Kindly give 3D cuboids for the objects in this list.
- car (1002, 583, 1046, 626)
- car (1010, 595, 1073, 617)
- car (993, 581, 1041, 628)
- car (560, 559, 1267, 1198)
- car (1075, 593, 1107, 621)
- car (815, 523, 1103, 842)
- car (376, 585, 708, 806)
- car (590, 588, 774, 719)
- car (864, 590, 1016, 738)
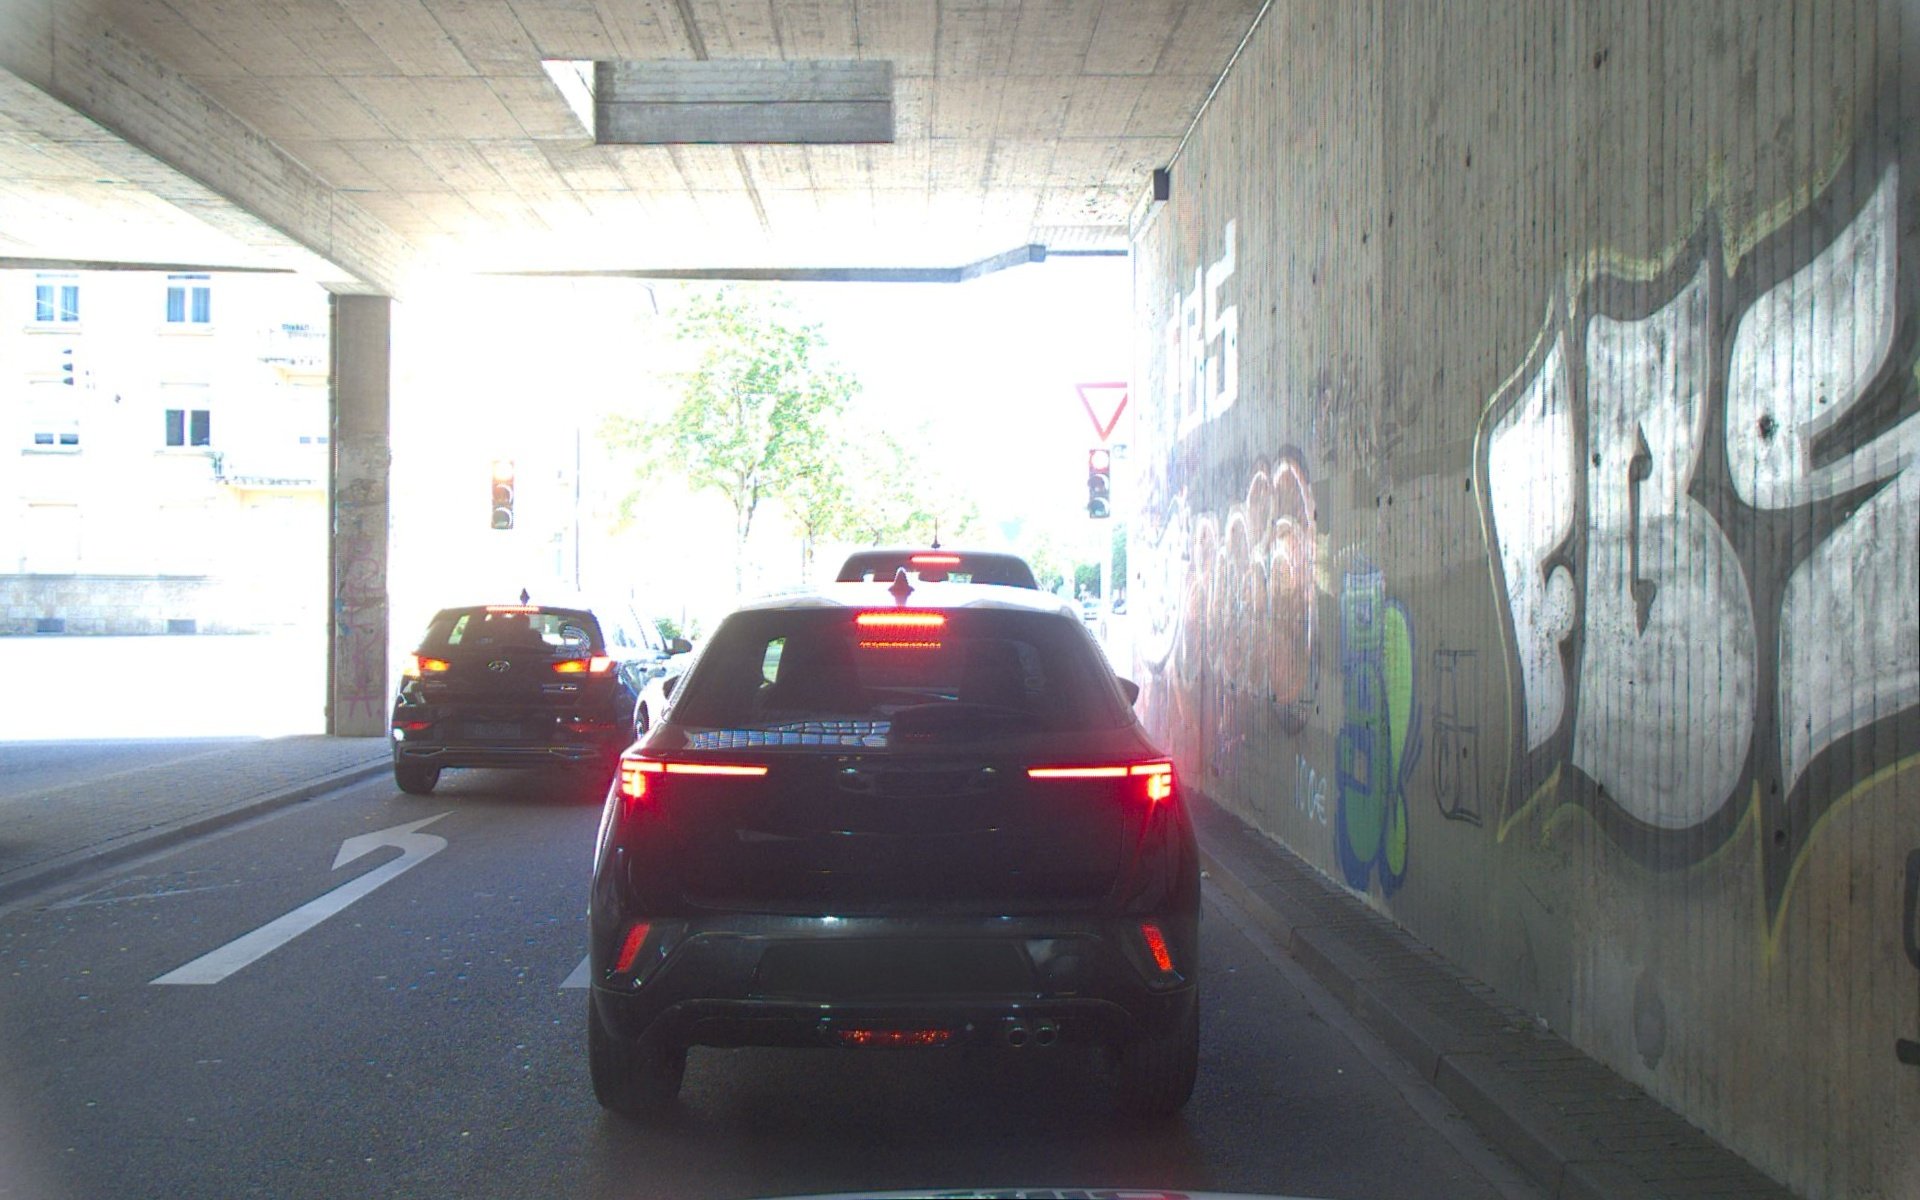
[{"bbox_3d":[2.671,0.208,68.366,1.717,1.696,3.946,1,0,3],"label":"car"},{"bbox_3d":[6.597,0.504,133.881,4.732,1.696,1.812,1,0,-22],"label":"car"},{"bbox_3d":[2.181,0.174,62.240,1.717,1.696,3.946,1,0,3],"label":"car"},{"bbox_3d":[-0.138,0.677,6.101,1.726,1.558,4.088,0,0,-1],"label":"car"},{"bbox_3d":[8.091,0.442,101.901,1.716,1.696,3.947,1,0,8],"label":"car"},{"bbox_3d":[-0.032,0.495,12.046,1.726,1.915,4.145,0,0,-1],"label":"car"},{"bbox_3d":[-3.149,0.651,13.244,1.726,1.506,3.843,0,0,-1],"label":"car"},{"bbox_3d":[-3.419,0.612,20.964,1.726,1.506,3.843,0,0,-1],"label":"car"},{"bbox_3d":[-0.237,0.662,19.260,1.576,1.539,4.053,0,0,-1],"label":"car"}]
